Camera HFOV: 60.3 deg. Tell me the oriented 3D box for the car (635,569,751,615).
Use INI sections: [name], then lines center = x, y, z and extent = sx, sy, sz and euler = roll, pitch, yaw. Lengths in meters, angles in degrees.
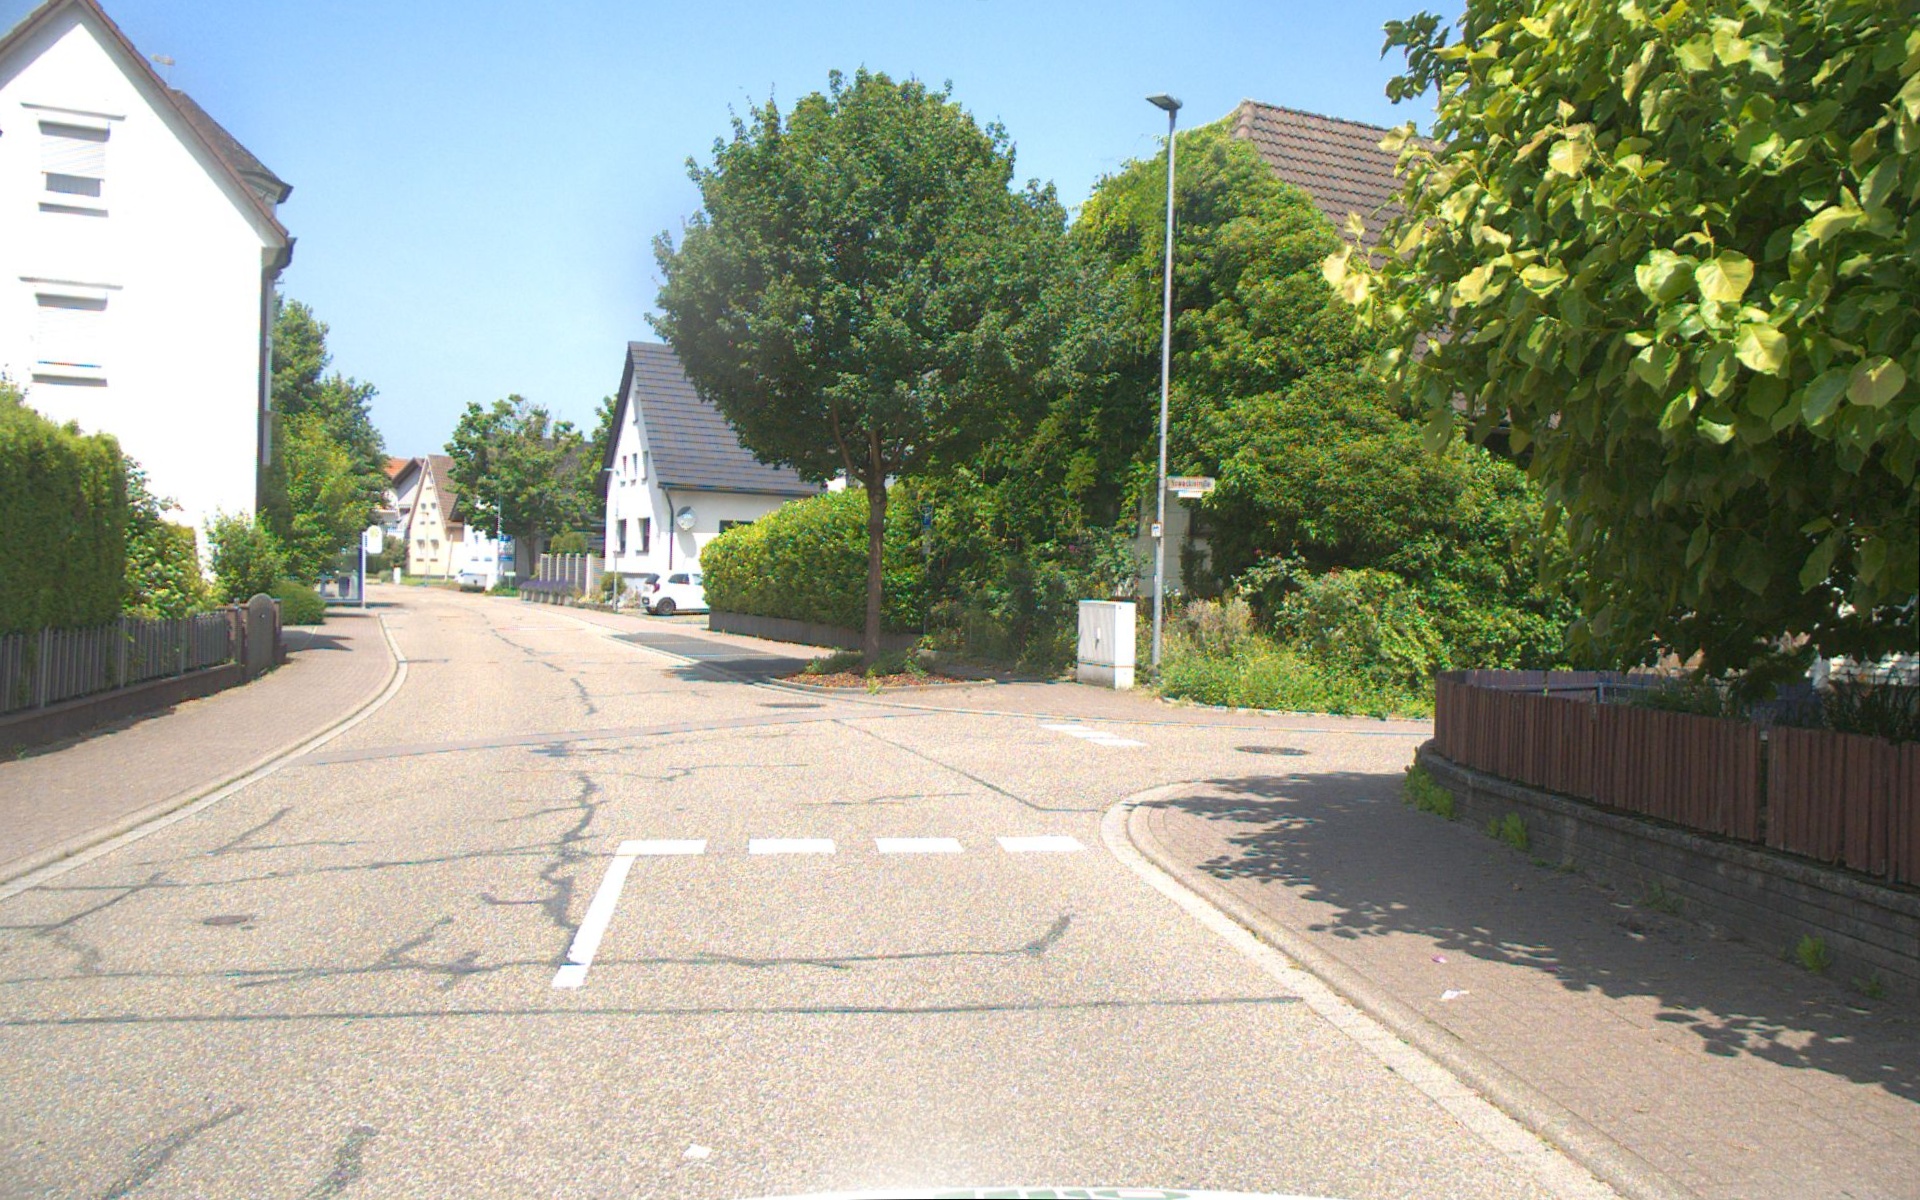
[car]
center = -9.223, -0.301, 57.052
extent = 3.615, 1.500, 1.750
euler = -1, 2, -28
